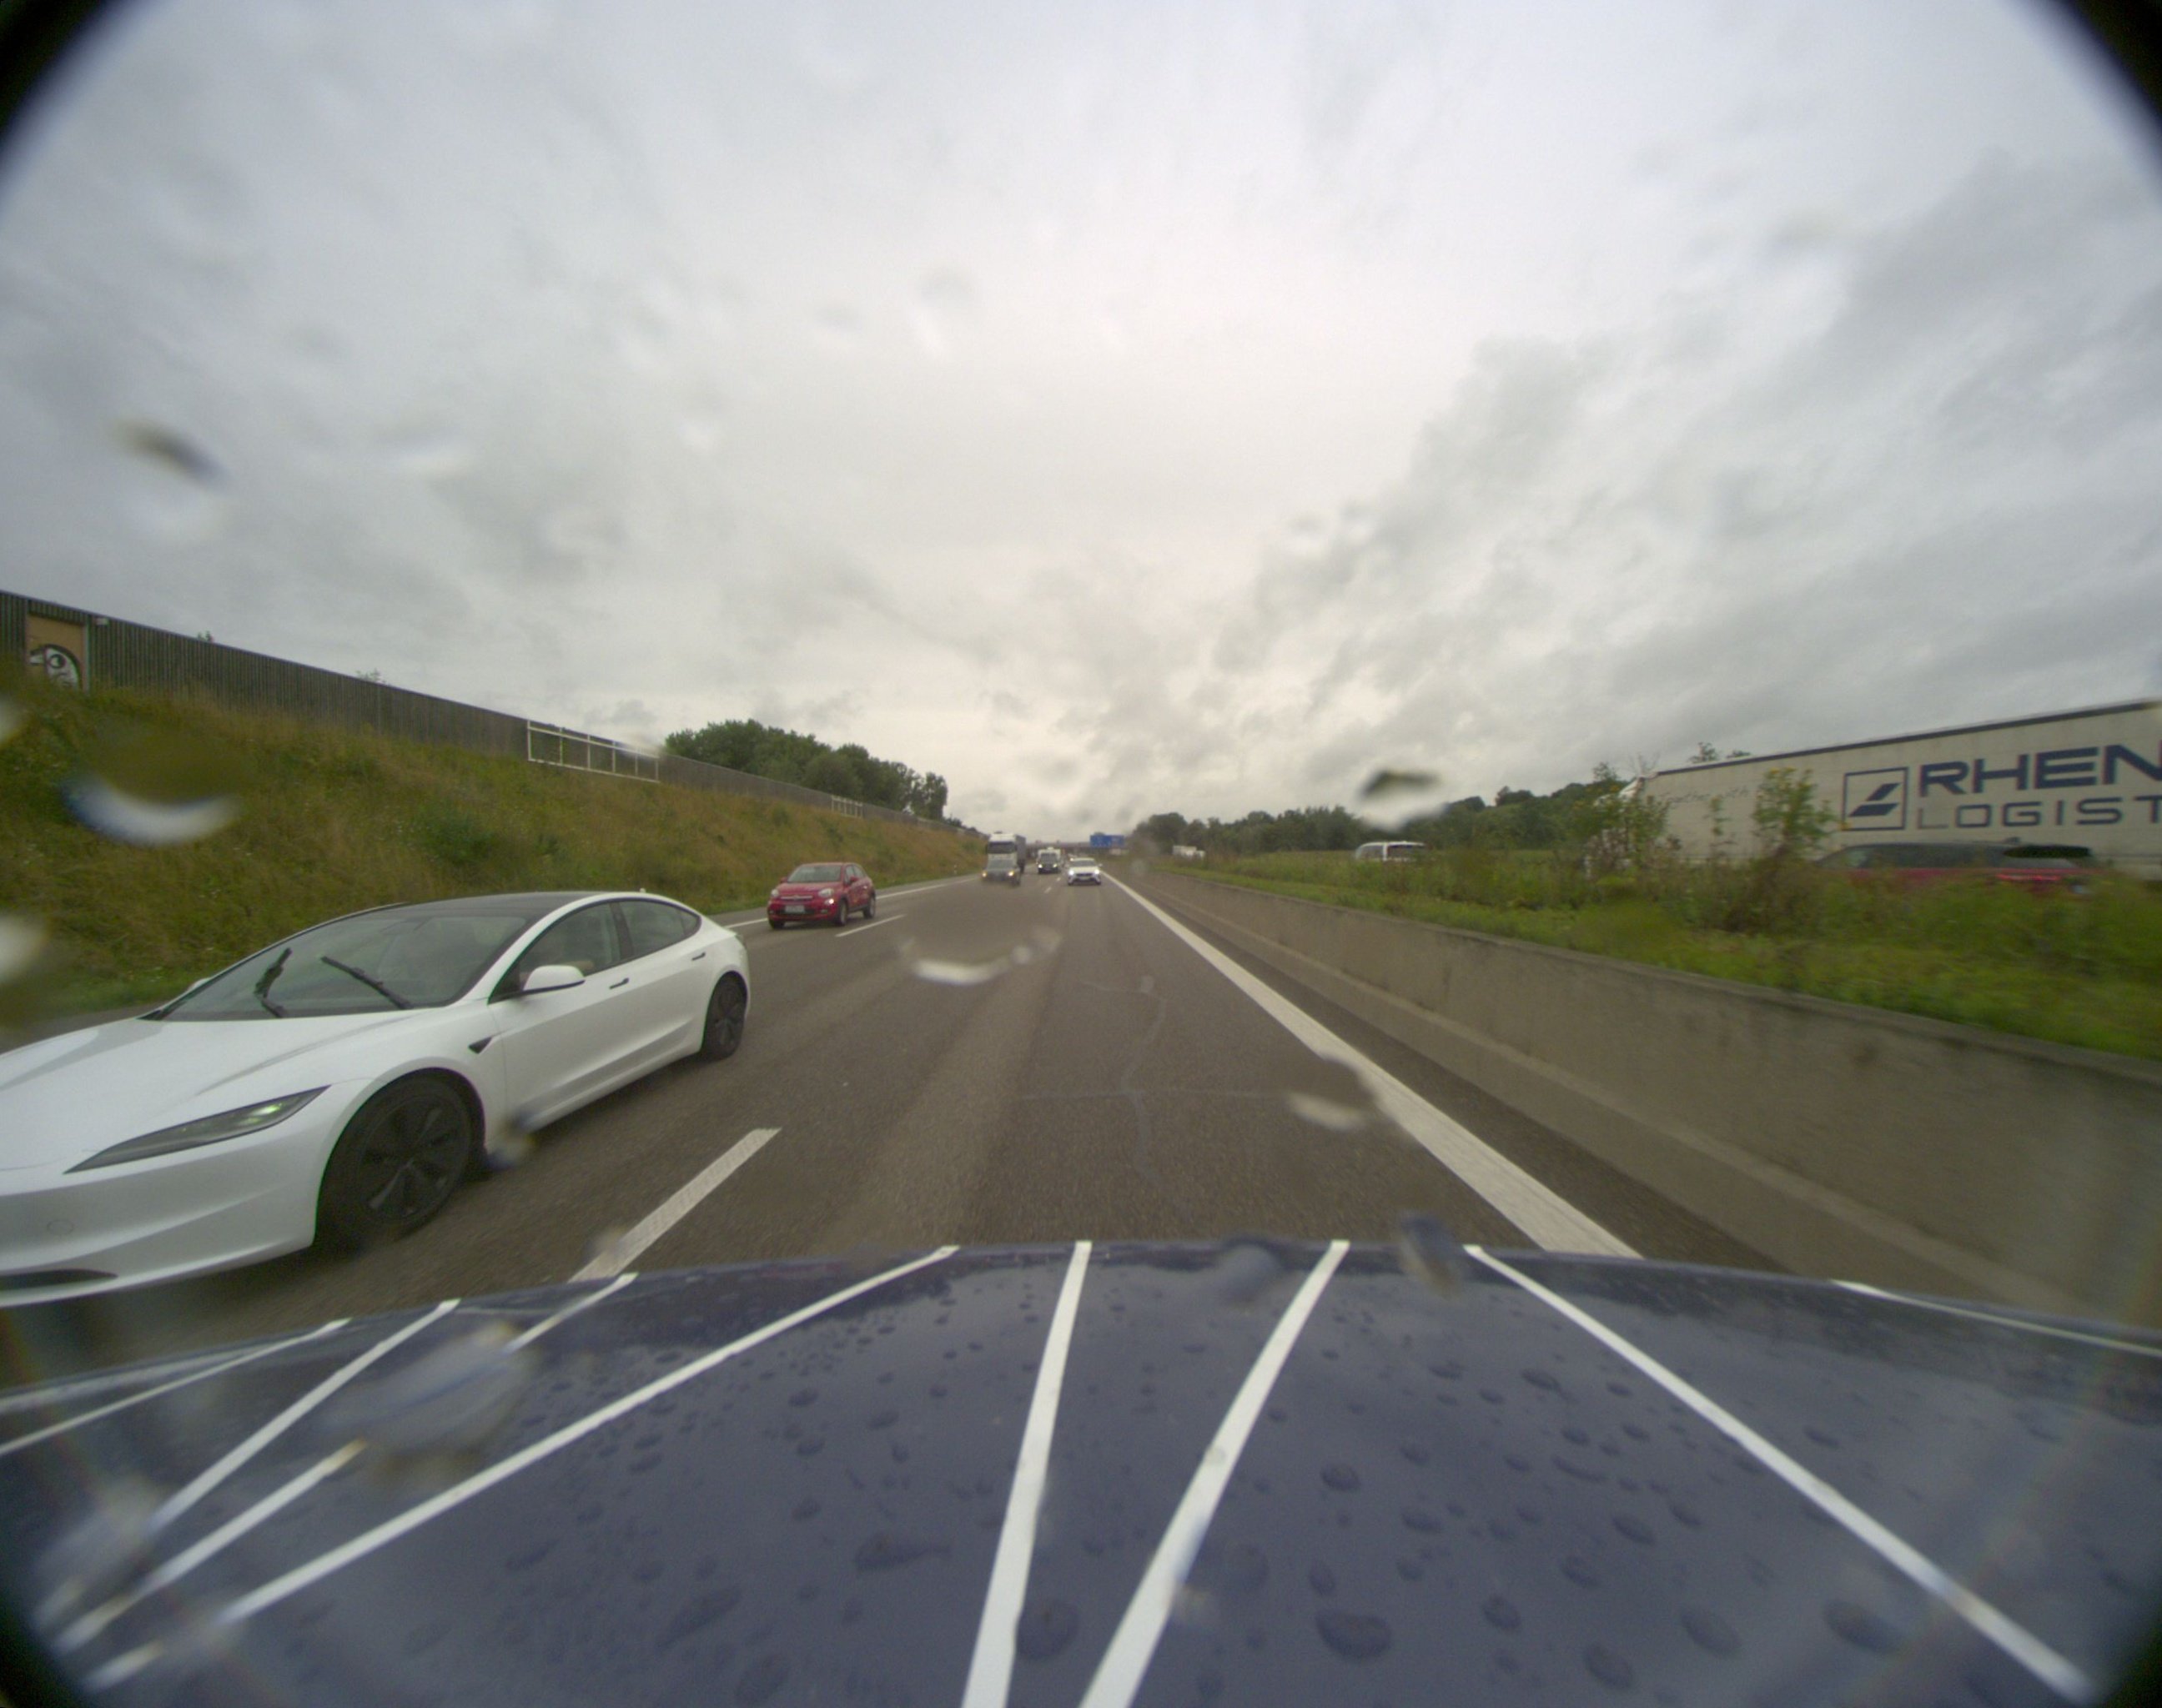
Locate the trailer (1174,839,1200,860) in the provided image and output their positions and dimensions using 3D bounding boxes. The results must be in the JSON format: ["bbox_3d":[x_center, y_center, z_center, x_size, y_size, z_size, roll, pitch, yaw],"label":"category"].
[{"bbox_3d":[17.751,-0.798,128.191,2.794,3.309,9.925,-2,1,0],"label":"trailer"}]

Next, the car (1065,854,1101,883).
[{"bbox_3d":[0.151,0.784,42.420,1.840,1.455,4.000,-2,1,2],"label":"car"}]

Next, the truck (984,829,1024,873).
[{"bbox_3d":[-7.468,-0.269,74.532,3.089,4.003,6.955,-2,1,0],"label":"truck"}]

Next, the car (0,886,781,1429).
[{"bbox_3d":[-3.779,1.034,4.661,1.878,1.355,4.812,-2,1,1],"label":"car"}]

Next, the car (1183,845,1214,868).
[{"bbox_3d":[10.642,0.190,69.141,1.998,2.002,5.068,-2,0,0],"label":"car"}]

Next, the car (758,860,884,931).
[{"bbox_3d":[-6.637,0.990,19.897,1.878,1.526,3.999,-2,1,0],"label":"car"}]

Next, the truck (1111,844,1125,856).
[{"bbox_3d":[12.085,-1.353,247.977,3.609,3.858,16.108,-2,1,0],"label":"truck"}]

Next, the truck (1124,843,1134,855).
[{"bbox_3d":[16.241,-1.683,258.225,2.455,3.951,8.767,-1,0,-3],"label":"truck"}]

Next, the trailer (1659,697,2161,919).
[{"bbox_3d":[18.058,-0.789,15.223,2.922,3.409,13.240,-2,1,0],"label":"trailer"}]

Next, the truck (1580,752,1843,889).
[{"bbox_3d":[18.076,-0.894,22.357,2.977,3.409,5.627,-2,1,0],"label":"truck"}]

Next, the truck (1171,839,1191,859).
[{"bbox_3d":[17.683,-0.889,134.508,2.763,3.324,4.520,-2,1,0],"label":"truck"}]

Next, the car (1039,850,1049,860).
[{"bbox_3d":[-7.925,0.133,162.135,1.999,2.002,4.262,-1,0,0],"label":"car"}]

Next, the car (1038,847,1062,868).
[{"bbox_3d":[-3.016,0.307,74.831,1.998,2.002,4.938,-2,1,2],"label":"car"}]

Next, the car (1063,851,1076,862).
[{"bbox_3d":[-1.762,0.407,122.374,1.998,1.759,4.000,0,0,0],"label":"car"}]

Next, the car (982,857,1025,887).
[{"bbox_3d":[-4.333,0.993,43.137,1.929,1.480,4.485,-2,1,0],"label":"car"}]

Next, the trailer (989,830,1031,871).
[{"bbox_3d":[-7.502,-0.413,82.783,3.089,4.003,15.219,-2,1,0],"label":"trailer"}]

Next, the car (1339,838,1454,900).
[{"bbox_3d":[10.219,0.437,25.047,1.824,1.827,4.801,0,0,1],"label":"car"}]

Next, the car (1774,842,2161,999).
[{"bbox_3d":[13.389,0.848,11.715,1.796,2.002,4.000,0,0,1],"label":"car"}]

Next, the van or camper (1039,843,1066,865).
[{"bbox_3d":[-2.935,-0.002,80.236,2.432,2.139,6.498,-2,1,1],"label":"van or camper"}]

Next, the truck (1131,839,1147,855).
[{"bbox_3d":[16.747,-2.004,220.604,3.333,4.317,16.897,-2,1,0],"label":"truck"}]

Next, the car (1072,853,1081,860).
[{"bbox_3d":[-1.182,0.725,201.387,1.999,1.696,4.483,-2,0,-2],"label":"car"}]
